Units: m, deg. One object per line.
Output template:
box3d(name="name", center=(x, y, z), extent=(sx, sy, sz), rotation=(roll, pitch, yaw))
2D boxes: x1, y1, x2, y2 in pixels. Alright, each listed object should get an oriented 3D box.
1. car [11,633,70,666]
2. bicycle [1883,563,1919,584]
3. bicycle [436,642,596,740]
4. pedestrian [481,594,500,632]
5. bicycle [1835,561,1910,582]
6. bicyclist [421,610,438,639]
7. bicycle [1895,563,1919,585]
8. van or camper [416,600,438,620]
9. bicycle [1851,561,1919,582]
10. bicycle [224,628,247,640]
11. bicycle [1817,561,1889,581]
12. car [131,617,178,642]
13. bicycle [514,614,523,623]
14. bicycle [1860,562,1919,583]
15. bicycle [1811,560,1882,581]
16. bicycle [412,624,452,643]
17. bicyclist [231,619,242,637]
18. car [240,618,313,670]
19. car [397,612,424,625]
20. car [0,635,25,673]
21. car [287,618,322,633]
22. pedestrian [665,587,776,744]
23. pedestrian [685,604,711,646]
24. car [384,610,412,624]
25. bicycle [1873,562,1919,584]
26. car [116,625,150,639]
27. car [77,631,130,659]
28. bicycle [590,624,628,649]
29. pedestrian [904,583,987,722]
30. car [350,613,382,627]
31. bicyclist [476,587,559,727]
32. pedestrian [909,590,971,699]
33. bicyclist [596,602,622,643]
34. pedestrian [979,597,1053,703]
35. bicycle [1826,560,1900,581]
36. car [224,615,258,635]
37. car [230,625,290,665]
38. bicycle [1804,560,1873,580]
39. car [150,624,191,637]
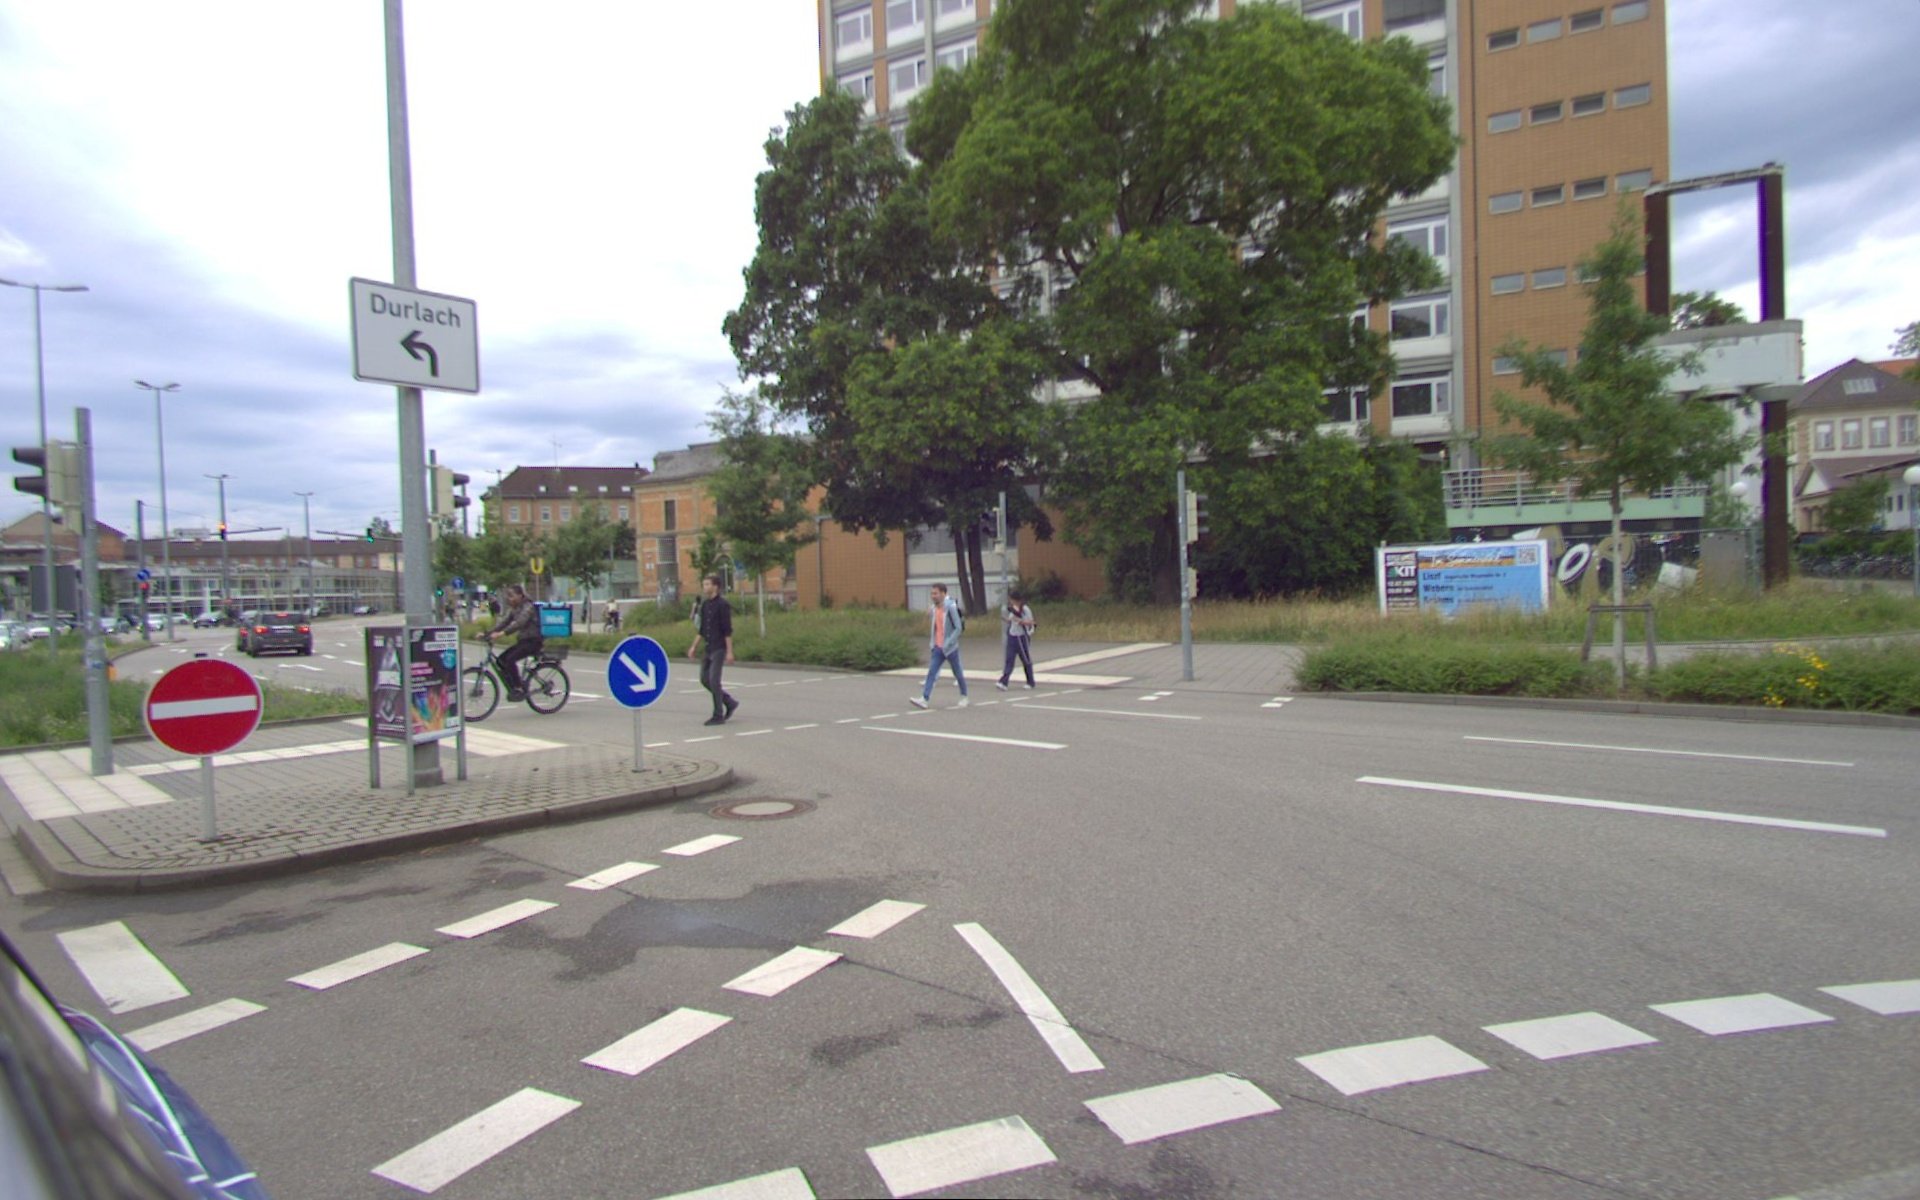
box3d(name="car", center=(-62.972, 3.343, 69.403), extent=(1.966, 2.029, 4.013), rotation=(-2, 0, -27))
box3d(name="bicycle", center=(41.025, -1.161, 43.070), extent=(2.483, 0.869, 0.658), rotation=(-2, 0, 26))
box3d(name="bicycle", center=(-6.171, 1.226, 14.122), extent=(1.877, 1.167, 0.793), rotation=(-2, 0, -40))
box3d(name="pedestrian", center=(-24.791, 0.677, 53.454), extent=(0.808, 1.995, 0.660), rotation=(-2, -1, -33))
box3d(name="bicycle", center=(42.593, -1.339, 47.295), extent=(2.483, 0.869, 0.658), rotation=(-2, 0, 26))
box3d(name="bicyclist", center=(-32.038, 1.454, 61.093), extent=(0.801, 1.669, 0.796), rotation=(-3, 2, -28))
box3d(name="bicycle", center=(40.499, -1.107, 41.935), extent=(2.483, 0.869, 0.658), rotation=(-2, 0, 26))
box3d(name="van or camper", center=(-70.038, 1.328, 133.081), extent=(2.247, 2.546, 5.591), rotation=(-1, 0, -25))
box3d(name="bicycle", center=(42.180, -1.287, 45.943), extent=(2.483, 0.869, 0.658), rotation=(-2, 0, 26))
box3d(name="bicycle", center=(-66.696, 3.128, 93.155), extent=(0.526, 1.078, 1.597), rotation=(-2, 0, 32))
box3d(name="bicycle", center=(43.208, -1.409, 48.979), extent=(2.483, 0.869, 0.658), rotation=(-2, 0, 26))
box3d(name="car", center=(-72.366, 2.621, 90.952), extent=(1.966, 2.029, 4.012), rotation=(-2, 0, -18))
box3d(name="bicycle", center=(-56.391, 2.364, 129.392), extent=(0.823, 1.038, 2.404), rotation=(-2, 0, -19))
box3d(name="bicycle", center=(41.675, -1.237, 44.921), extent=(2.483, 0.869, 0.658), rotation=(-2, 0, 26))
box3d(name="bicycle", center=(43.522, -1.443, 49.716), extent=(2.483, 0.869, 0.658), rotation=(-2, 0, 26))
box3d(name="bicycle", center=(-31.894, 2.021, 61.168), extent=(2.083, 1.036, 0.798), rotation=(-2, 2, -28))
box3d(name="bicyclist", center=(-66.631, 2.594, 93.204), extent=(0.516, 1.651, 0.648), rotation=(-2, 0, 32))
box3d(name="car", center=(-25.238, 1.577, 37.288), extent=(1.847, 1.738, 4.721), rotation=(-1, -1, -39))
box3d(name="car", center=(-92.357, 3.084, 170.119), extent=(2.336, 2.037, 5.140), rotation=(-2, 0, -10))
box3d(name="car", center=(-40.911, 2.289, 42.339), extent=(1.941, 1.466, 4.204), rotation=(-2, 0, -33))
box3d(name="car", center=(-84.915, 3.258, 131.160), extent=(2.334, 1.768, 5.144), rotation=(-2, 0, -16))
box3d(name="pedestrian", center=(-3.032, 0.786, 12.801), extent=(1.035, 1.856, 0.867), rotation=(-2, 0, -41))
box3d(name="pedestrian", center=(-9.957, 0.954, 38.409), extent=(0.555, 1.552, 0.756), rotation=(-6, 2, -42))
box3d(name="car", center=(-91.050, 2.731, 163.961), extent=(2.336, 2.149, 5.140), rotation=(-2, 0, -10))
box3d(name="bicycle", center=(41.357, -1.197, 43.910), extent=(2.483, 0.869, 0.658), rotation=(-2, 0, 26))
box3d(name="car", center=(-101.654, 3.888, 124.385), extent=(4.015, 1.572, 1.775), rotation=(-2, 0, 28))
box3d(name="car", center=(-68.675, 3.610, 81.196), extent=(1.965, 2.029, 4.013), rotation=(-2, 0, -21))
box3d(name="bicycle", center=(-13.850, 1.424, 39.908), extent=(0.706, 0.889, 1.886), rotation=(-3, 1, -41))
box3d(name="pedestrian", center=(-0.206, 0.704, 14.130), extent=(0.882, 1.856, 0.668), rotation=(-2, 0, -41))
box3d(name="car", center=(-89.189, 2.962, 152.043), extent=(2.336, 1.925, 5.140), rotation=(-2, 0, -10))
box3d(name="bicyclist", center=(-6.187, 0.765, 14.137), extent=(0.821, 1.858, 0.794), rotation=(-2, 0, -40))
box3d(name="pedestrian", center=(-0.354, 0.766, 17.773), extent=(0.747, 1.856, 0.767), rotation=(-1, -1, -41))
box3d(name="bicyclist", center=(-13.848, 0.889, 39.877), extent=(0.706, 1.582, 0.713), rotation=(-3, 1, -42))
box3d(name="pedestrian", center=(0.922, 0.805, 16.704), extent=(0.831, 1.661, 0.807), rotation=(-2, 0, -41))
box3d(name="bicycle", center=(43.008, -1.382, 48.228), extent=(2.483, 0.869, 0.658), rotation=(-2, 0, 26))
box3d(name="car", center=(-80.504, 2.803, 113.397), extent=(1.966, 2.029, 4.012), rotation=(-2, 0, -18))
box3d(name="car", center=(-29.014, 1.817, 41.905), extent=(1.846, 1.519, 4.489), rotation=(1, -1, -37))
box3d(name="bicycle", center=(43.898, -1.482, 50.586), extent=(2.483, 0.869, 0.658), rotation=(-2, 0, 26))
box3d(name="car", center=(-99.493, 3.860, 127.576), extent=(3.840, 1.452, 1.738), rotation=(-2, 0, -28))
